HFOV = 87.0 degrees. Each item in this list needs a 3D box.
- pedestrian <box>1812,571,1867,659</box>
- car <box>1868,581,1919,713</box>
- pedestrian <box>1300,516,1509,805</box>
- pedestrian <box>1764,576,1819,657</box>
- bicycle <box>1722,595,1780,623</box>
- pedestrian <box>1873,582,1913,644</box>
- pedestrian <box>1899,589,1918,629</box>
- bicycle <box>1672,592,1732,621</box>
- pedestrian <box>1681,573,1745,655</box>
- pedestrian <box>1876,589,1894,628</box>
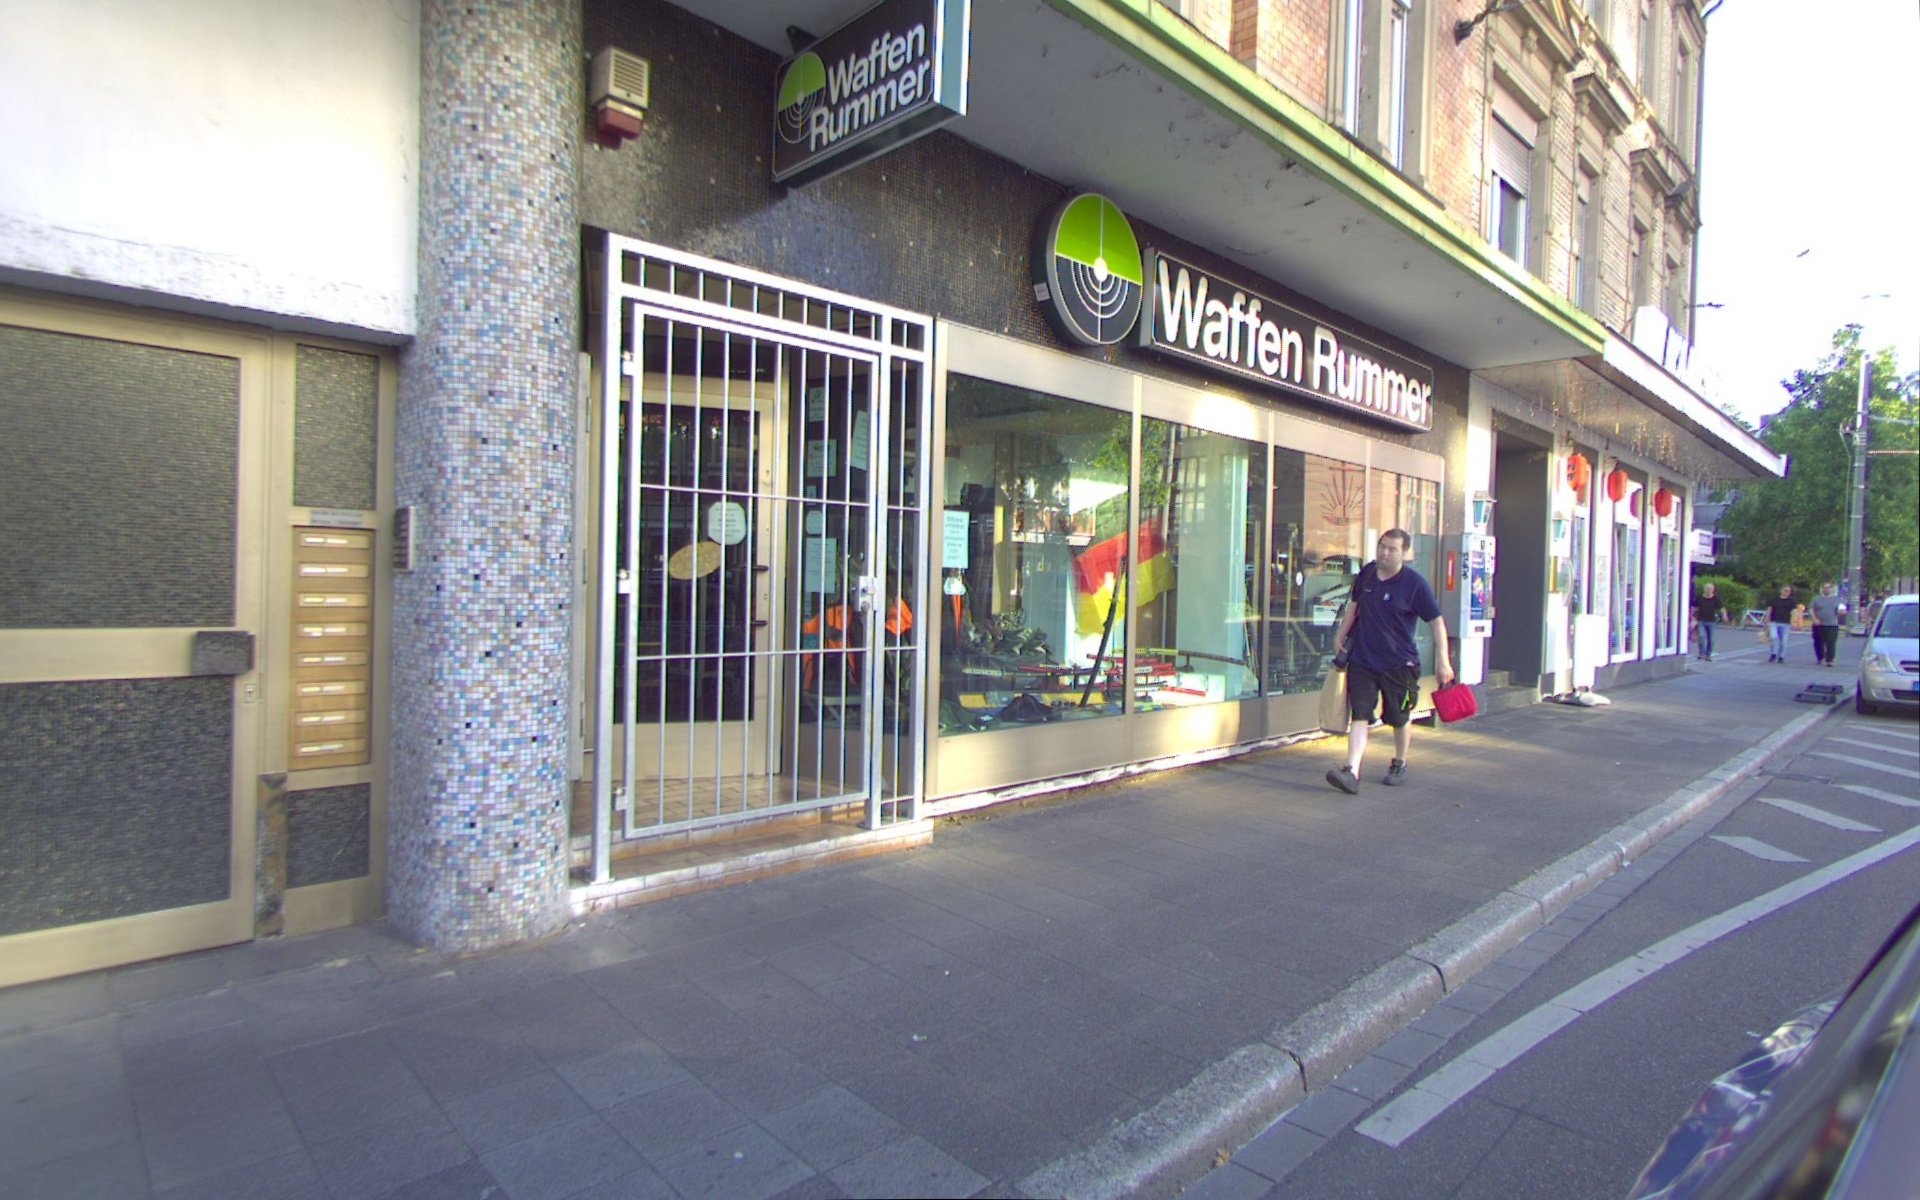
[{"bbox_3d":[19.837,0.324,22.833,1.016,1.922,0.794,0,2,-44],"label":"pedestrian"},{"bbox_3d":[13.498,0.579,13.679,1.638,1.635,3.881,1,1,45],"label":"car"},{"bbox_3d":[3.093,0.355,7.038,1.037,1.814,0.947,0,2,-44],"label":"pedestrian"},{"bbox_3d":[19.002,0.350,23.127,1.016,1.778,0.811,0,2,-44],"label":"pedestrian"},{"bbox_3d":[33.932,0.360,43.432,0.461,1.109,1.882,0,2,-45],"label":"bicycle"},{"bbox_3d":[27.540,0.369,29.885,0.930,1.759,0.788,0,1,-44],"label":"pedestrian"},{"bbox_3d":[42.398,0.384,45.242,0.430,1.734,0.493,0,3,-44],"label":"pedestrian"},{"bbox_3d":[32.176,0.269,43.914,2.012,1.109,0.628,4,2,40],"label":"bicycle"},{"bbox_3d":[16.926,0.291,22.743,1.016,1.734,0.902,0,4,-44],"label":"pedestrian"},{"bbox_3d":[41.933,0.369,45.874,0.430,1.734,0.493,0,3,-44],"label":"pedestrian"}]
